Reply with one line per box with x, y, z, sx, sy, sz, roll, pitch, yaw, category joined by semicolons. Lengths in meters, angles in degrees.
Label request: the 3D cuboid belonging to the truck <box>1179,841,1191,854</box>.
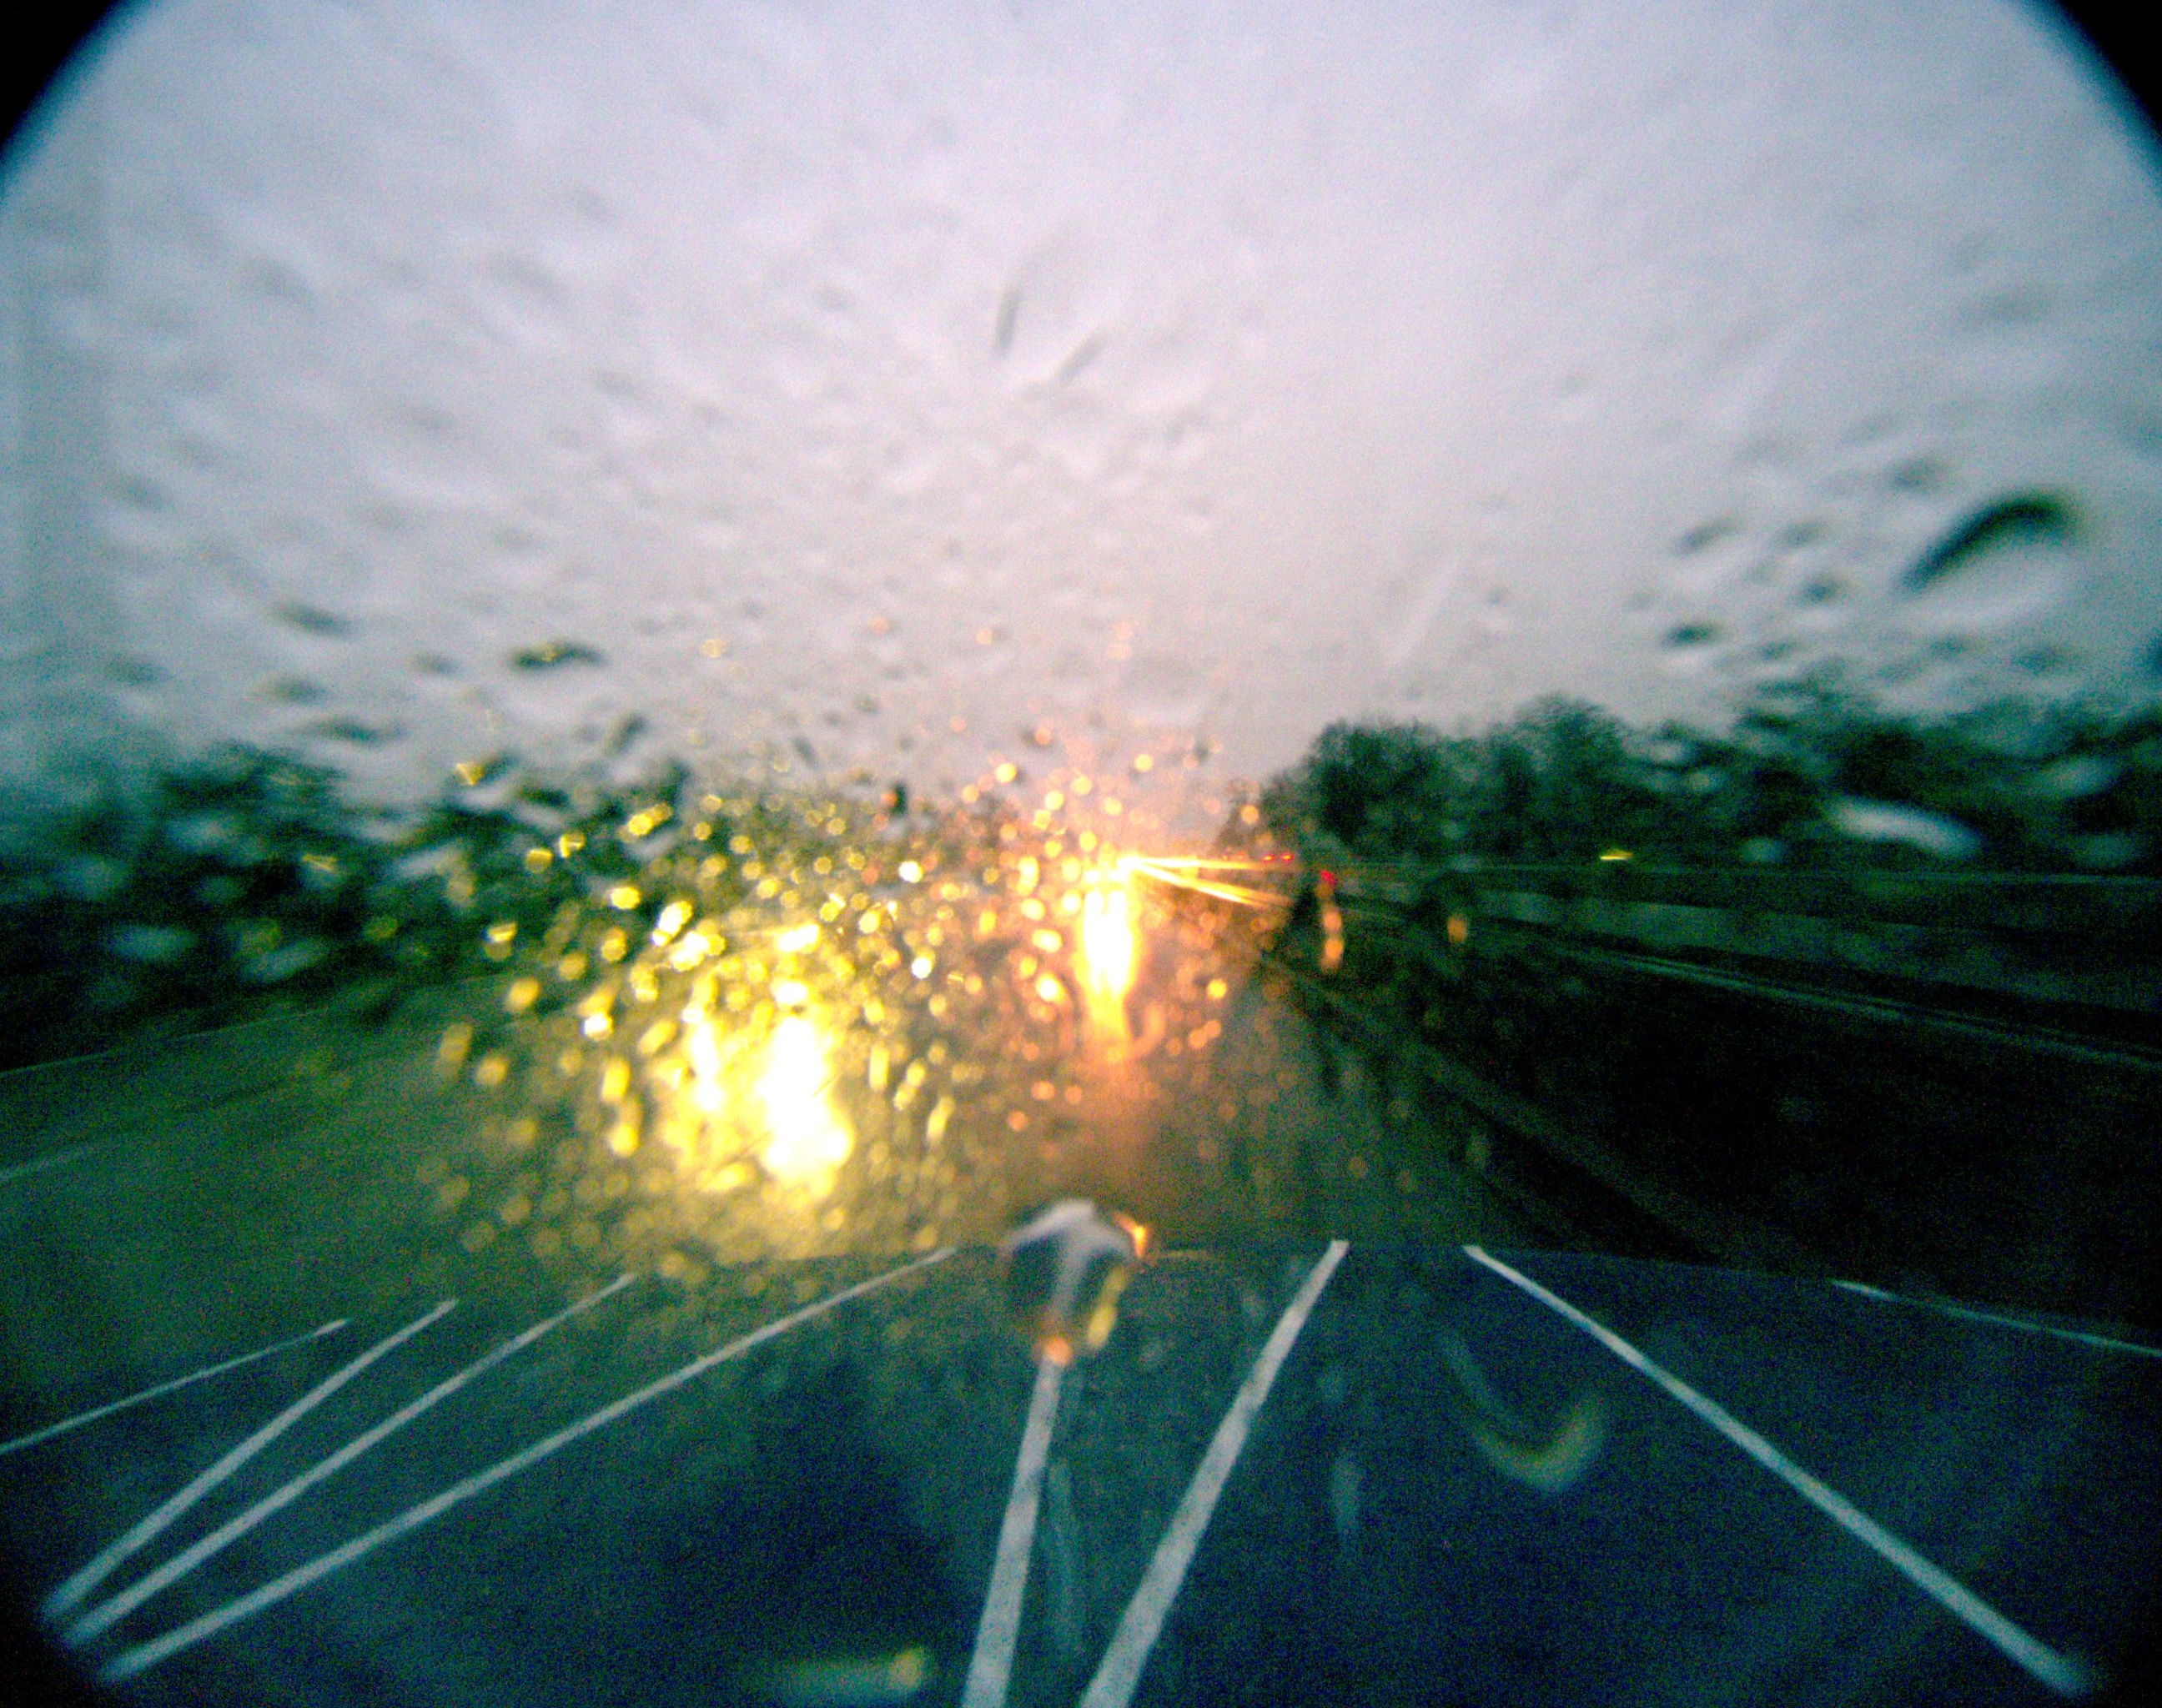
31.980;-1.990;233.504;3.084;3.834;9.372;-2;0;6;truck

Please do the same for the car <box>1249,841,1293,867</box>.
12.904;-0.014;51.751;1.870;1.618;4.779;-2;0;2;car

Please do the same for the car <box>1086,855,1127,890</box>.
1.315;0.867;37.021;1.758;1.521;4.001;-2;0;4;car

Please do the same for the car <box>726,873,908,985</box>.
-4.202;1.107;12.818;1.595;1.445;4.176;-2;0;-1;car

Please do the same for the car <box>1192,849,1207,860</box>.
17.347;0.080;111.437;1.731;1.598;4.179;-2;0;3;car

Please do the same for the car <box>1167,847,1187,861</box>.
10.939;-0.033;86.825;1.870;1.441;4.646;-2;0;2;car

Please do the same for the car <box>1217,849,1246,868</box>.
13.868;0.399;70.306;1.870;1.618;4.646;-2;0;2;car

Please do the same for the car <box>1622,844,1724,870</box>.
30.145;0.162;38.865;3.989;1.155;1.806;-2;1;35;car

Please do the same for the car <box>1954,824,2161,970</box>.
11.601;0.410;7.503;1.701;1.433;3.681;-2;0;0;car

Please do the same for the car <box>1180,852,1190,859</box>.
22.636;0.341;165.489;1.998;1.505;4.284;-2;0;5;car
